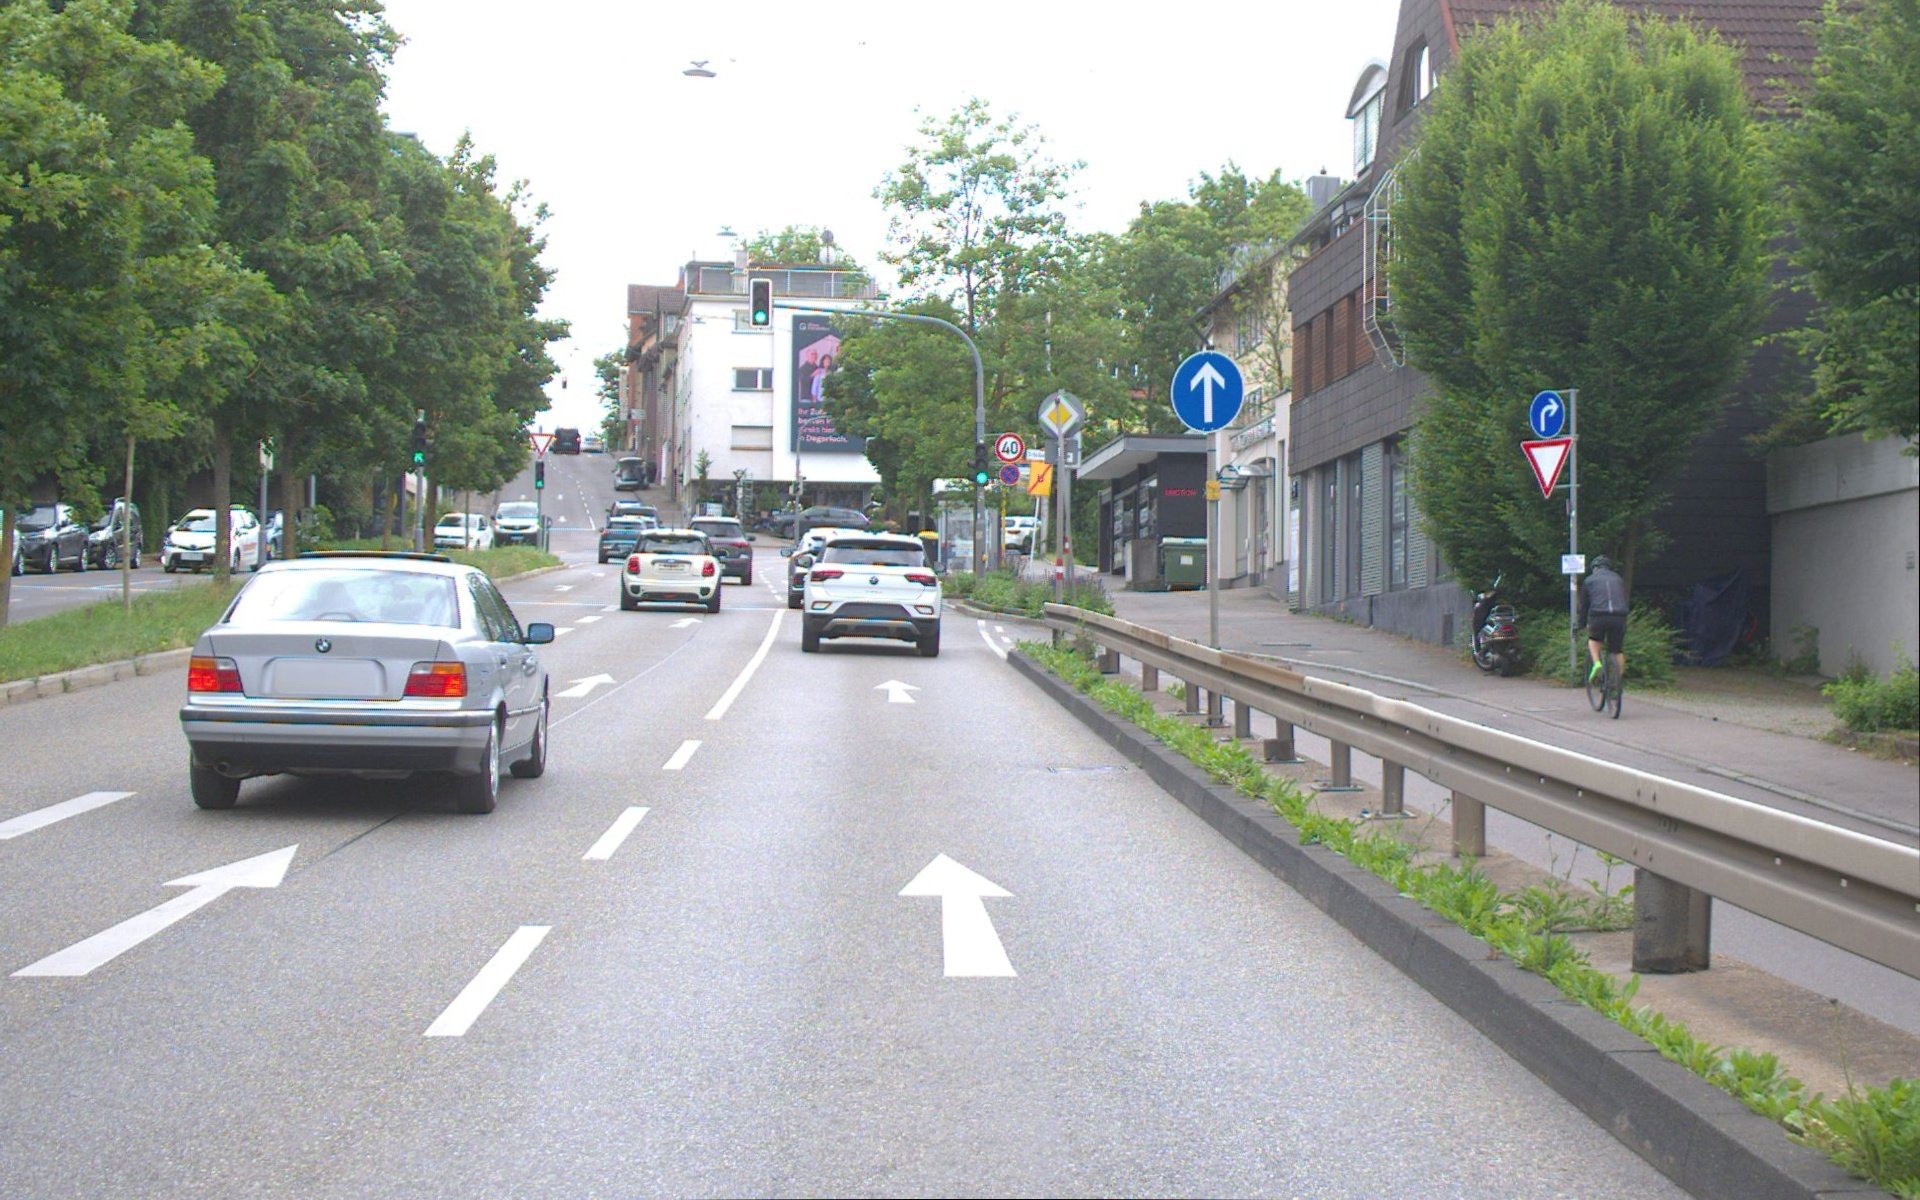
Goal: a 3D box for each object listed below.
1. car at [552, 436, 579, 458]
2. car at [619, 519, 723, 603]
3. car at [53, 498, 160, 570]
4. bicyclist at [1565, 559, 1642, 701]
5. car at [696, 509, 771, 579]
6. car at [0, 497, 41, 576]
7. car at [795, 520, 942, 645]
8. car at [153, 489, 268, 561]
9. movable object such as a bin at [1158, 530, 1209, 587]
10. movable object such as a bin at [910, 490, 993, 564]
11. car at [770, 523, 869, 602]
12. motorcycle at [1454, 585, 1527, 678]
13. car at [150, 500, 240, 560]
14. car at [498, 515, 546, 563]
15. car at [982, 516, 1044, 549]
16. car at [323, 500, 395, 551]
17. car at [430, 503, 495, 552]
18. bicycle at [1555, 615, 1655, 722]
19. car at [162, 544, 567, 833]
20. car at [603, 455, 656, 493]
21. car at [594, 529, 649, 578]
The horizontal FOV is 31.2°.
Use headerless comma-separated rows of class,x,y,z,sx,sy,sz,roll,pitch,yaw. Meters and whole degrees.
car,-28.140,-10.911,245.238,1.822,1.503,4.001,2,2,-6
car,-5.043,-0.678,60.155,1.722,1.371,3.457,-2,1,-4
car,-21.490,-1.690,86.694,1.859,1.664,4.280,2,2,-4
bicyclist,7.119,0.326,38.062,0.566,1.519,0.959,-2,2,-4
car,-5.571,-1.358,84.192,1.722,1.634,3.457,-2,1,-5
car,-21.835,-1.456,76.471,1.859,1.664,4.280,2,2,-4
car,-1.188,-0.239,44.861,1.797,1.514,3.457,-2,1,-1
car,-18.643,-1.882,85.648,1.860,1.664,4.280,2,2,0
movable object such as a bin,5.748,-1.078,88.500,1.195,1.403,0.711,2,2,-2
movable object such as a bin,-0.232,-1.953,91.285,1.891,1.863,1.529,2,2,-10
car,-2.616,-0.686,63.395,1.722,1.371,3.457,-2,1,-3
motorcycle,7.058,0.404,45.842,0.608,1.158,2.041,0,2,-1
car,-21.934,-2.041,98.743,1.859,1.588,4.280,2,2,-4
car,-17.594,-2.466,138.199,1.668,1.859,3.245,-1,2,-3
car,2.303,-2.930,148.915,1.724,1.371,3.454,-1,1,18
car,-19.719,-2.455,112.985,1.859,1.535,4.280,2,2,-4
car,-17.074,-2.512,118.089,1.859,1.535,4.280,2,2,-4
bicycle,7.141,0.743,38.124,0.566,1.059,2.006,-2,2,-4
car,-3.326,0.418,19.990,1.634,1.378,4.620,2,1,-2
car,-18.664,-7.104,194.209,2.510,2.006,5.182,2,2,-1
car,-11.449,-1.560,116.382,1.722,1.577,3.457,-2,1,-5
